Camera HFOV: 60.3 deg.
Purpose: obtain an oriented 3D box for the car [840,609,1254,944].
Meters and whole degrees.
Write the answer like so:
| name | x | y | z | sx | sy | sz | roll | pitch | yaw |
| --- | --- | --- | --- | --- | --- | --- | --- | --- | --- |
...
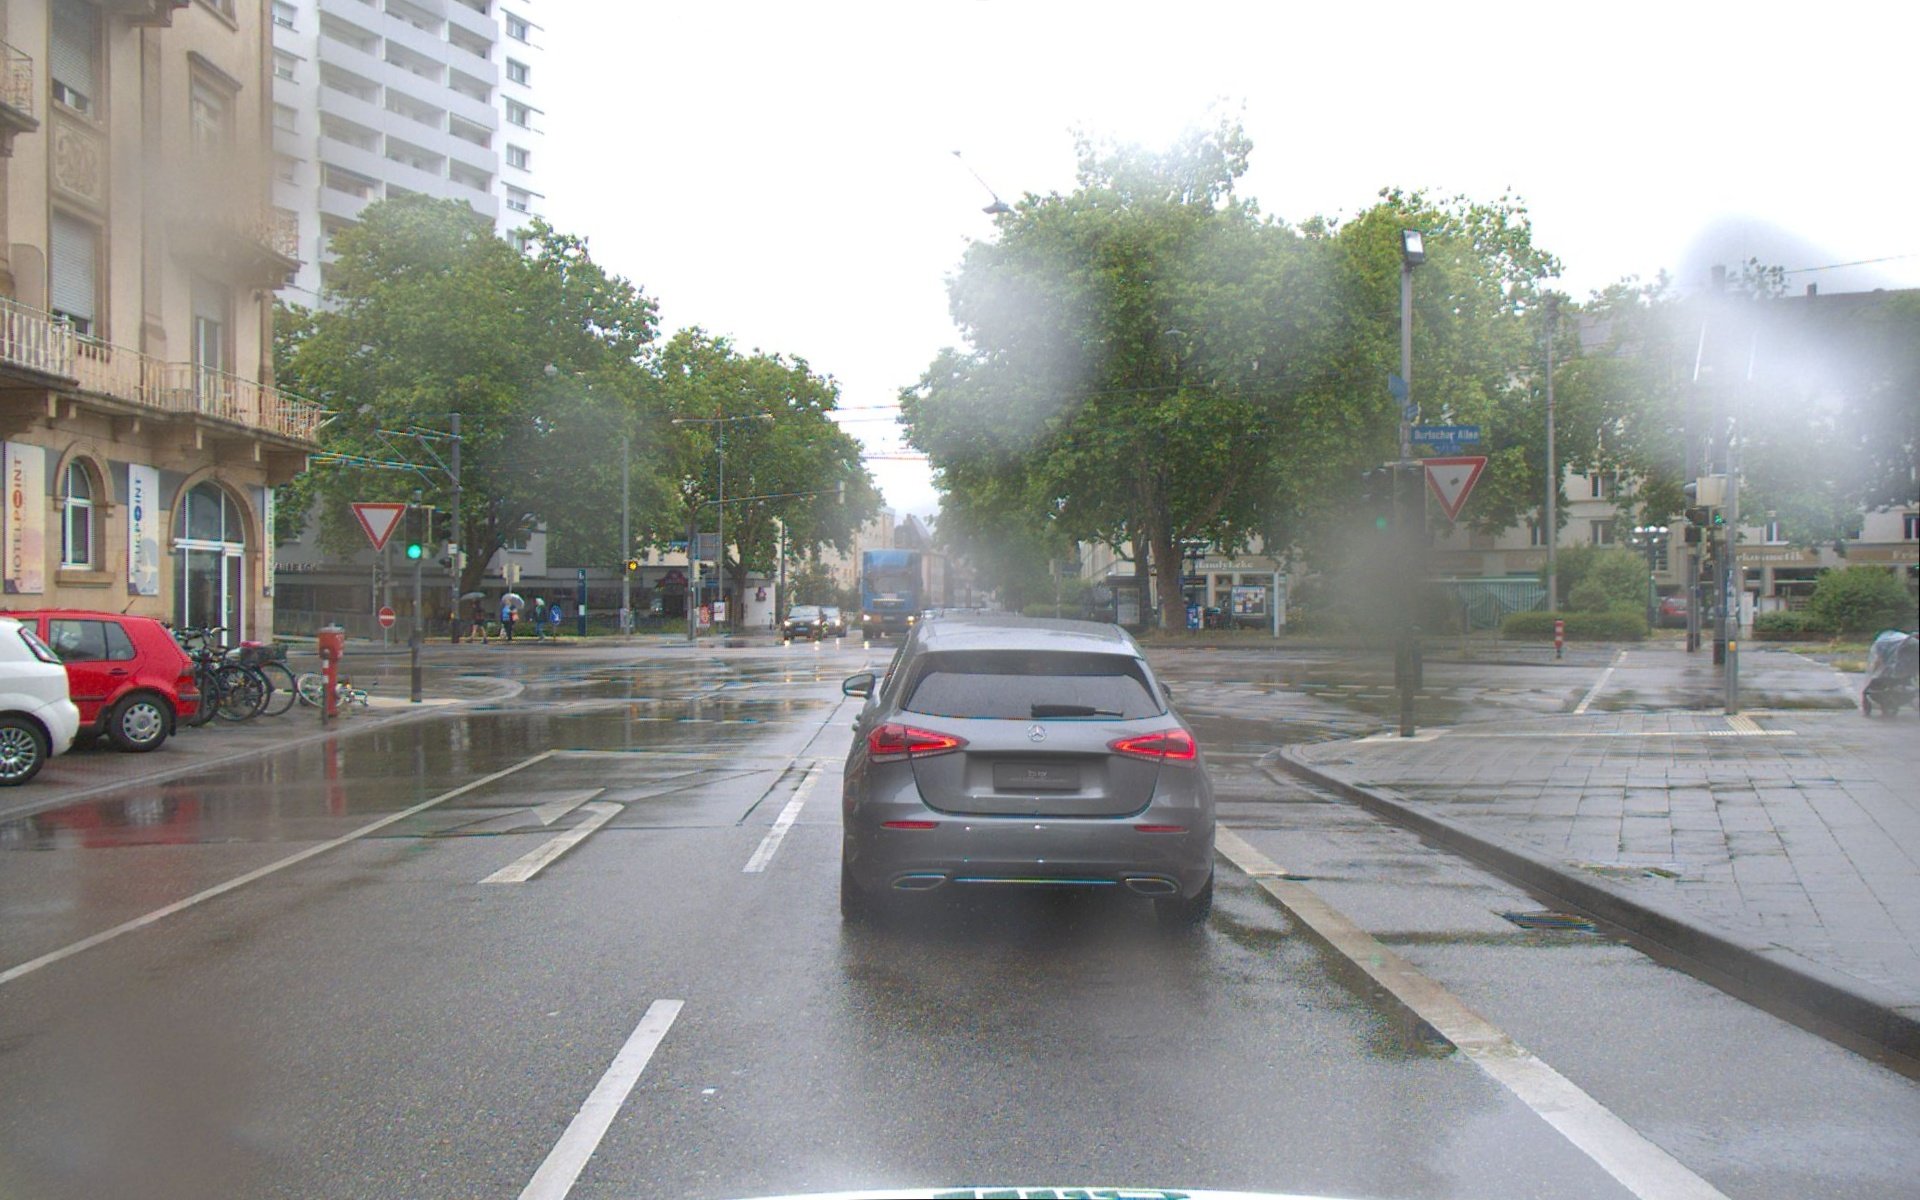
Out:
| name | x | y | z | sx | sy | sz | roll | pitch | yaw |
| --- | --- | --- | --- | --- | --- | --- | --- | --- | --- |
| car | 0.352 | 0.764 | 8.818 | 1.755 | 1.396 | 3.506 | 1 | 0 | -1 |

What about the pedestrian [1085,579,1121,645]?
| name | x | y | z | sx | sy | sz | roll | pitch | yaw |
| --- | --- | --- | --- | --- | --- | --- | --- | --- | --- |
| pedestrian | 3.166 | 0.255 | 36.498 | 0.728 | 1.422 | 1.048 | -1 | 0 | 6 |

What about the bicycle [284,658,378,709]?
| name | x | y | z | sx | sy | sz | roll | pitch | yaw |
| --- | --- | --- | --- | --- | --- | --- | --- | --- | --- |
| bicycle | -9.256 | 1.219 | 24.310 | 1.029 | 0.675 | 1.462 | 2 | -2 | -31 |

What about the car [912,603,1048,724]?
| name | x | y | z | sx | sy | sz | roll | pitch | yaw |
| --- | --- | --- | --- | --- | --- | --- | --- | --- | --- |
| car | 0.206 | 0.752 | 21.505 | 1.574 | 1.396 | 3.999 | -1 | 0 | -1 |

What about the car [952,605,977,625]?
| name | x | y | z | sx | sy | sz | roll | pitch | yaw |
| --- | --- | --- | --- | --- | --- | --- | --- | --- | --- |
| car | 0.364 | 1.289 | 141.957 | 1.953 | 1.601 | 3.998 | -1 | -1 | -2 |

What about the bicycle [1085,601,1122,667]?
| name | x | y | z | sx | sy | sz | roll | pitch | yaw |
| --- | --- | --- | --- | --- | --- | --- | --- | --- | --- |
| bicycle | 3.189 | 0.722 | 36.532 | 0.733 | 1.401 | 2.709 | -1 | 0 | 6 |

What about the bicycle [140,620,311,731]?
| name | x | y | z | sx | sy | sz | roll | pitch | yaw |
| --- | --- | --- | --- | --- | --- | --- | --- | --- | --- |
| bicycle | -8.972 | 0.914 | 20.232 | 1.772 | 1.205 | 0.601 | 4 | 0 | 5 |

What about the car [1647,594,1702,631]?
| name | x | y | z | sx | sy | sz | roll | pitch | yaw |
| --- | --- | --- | --- | --- | --- | --- | --- | --- | --- |
| car | 31.383 | 0.552 | 72.717 | 1.627 | 1.548 | 3.682 | -1 | -1 | 14 |

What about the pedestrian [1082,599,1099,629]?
| name | x | y | z | sx | sy | sz | roll | pitch | yaw |
| --- | --- | --- | --- | --- | --- | --- | --- | --- | --- |
| pedestrian | 7.470 | 0.815 | 94.495 | 0.656 | 1.698 | 0.711 | 0 | -1 | -30 |

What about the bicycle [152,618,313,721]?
| name | x | y | z | sx | sy | sz | roll | pitch | yaw |
| --- | --- | --- | --- | --- | --- | --- | --- | --- | --- |
| bicycle | -9.334 | 0.888 | 21.242 | 1.774 | 1.205 | 0.475 | 3 | -1 | -3 |

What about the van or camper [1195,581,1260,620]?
| name | x | y | z | sx | sy | sz | roll | pitch | yaw |
| --- | --- | --- | --- | --- | --- | --- | --- | --- | --- |
| van or camper | 16.224 | 0.067 | 100.153 | 2.349 | 2.270 | 5.424 | -1 | -1 | 27 |

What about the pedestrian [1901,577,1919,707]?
| name | x | y | z | sx | sy | sz | roll | pitch | yaw |
| --- | --- | --- | --- | --- | --- | --- | --- | --- | --- |
| pedestrian | 12.778 | 0.541 | 21.593 | 0.590 | 1.692 | 0.689 | -1 | 0 | 2 |

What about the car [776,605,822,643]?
| name | x | y | z | sx | sy | sz | roll | pitch | yaw |
| --- | --- | --- | --- | --- | --- | --- | --- | --- | --- |
| car | -7.009 | 1.046 | 72.245 | 1.708 | 1.573 | 3.777 | -1 | 0 | -1 |

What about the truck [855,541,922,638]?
| name | x | y | z | sx | sy | sz | roll | pitch | yaw |
| --- | --- | --- | --- | --- | --- | --- | --- | --- | --- |
| truck | -3.160 | -0.443 | 75.845 | 2.788 | 4.096 | 10.313 | -1 | 0 | -1 |

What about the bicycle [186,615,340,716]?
| name | x | y | z | sx | sy | sz | roll | pitch | yaw |
| --- | --- | --- | --- | --- | --- | --- | --- | --- | --- |
| bicycle | -9.612 | 0.895 | 22.842 | 1.935 | 1.353 | 0.438 | -1 | 0 | 1 |

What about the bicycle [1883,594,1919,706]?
| name | x | y | z | sx | sy | sz | roll | pitch | yaw |
| --- | --- | --- | --- | --- | --- | --- | --- | --- | --- |
| bicycle | 13.144 | 0.673 | 21.861 | 0.522 | 1.492 | 1.935 | -1 | 0 | -10 |

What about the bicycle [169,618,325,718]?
| name | x | y | z | sx | sy | sz | roll | pitch | yaw |
| --- | --- | --- | --- | --- | --- | --- | --- | --- | --- |
| bicycle | -9.371 | 0.895 | 21.767 | 1.774 | 1.205 | 0.467 | 3 | -1 | -3 |

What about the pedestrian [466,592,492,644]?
| name | x | y | z | sx | sy | sz | roll | pitch | yaw |
| --- | --- | --- | --- | --- | --- | --- | --- | --- | --- |
| pedestrian | -17.582 | 0.659 | 60.436 | 0.674 | 1.871 | 0.630 | -1 | -1 | -43 |

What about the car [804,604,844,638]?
| name | x | y | z | sx | sy | sz | roll | pitch | yaw |
| --- | --- | --- | --- | --- | --- | --- | --- | --- | --- |
| car | -6.636 | 1.028 | 81.026 | 1.691 | 1.573 | 4.339 | -1 | 0 | -1 |

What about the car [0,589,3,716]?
| name | x | y | z | sx | sy | sz | roll | pitch | yaw |
| --- | --- | --- | --- | --- | --- | --- | --- | --- | --- |
| car | -9.188 | 0.725 | 11.591 | 4.047 | 1.721 | 1.738 | 2 | 0 | -41 |

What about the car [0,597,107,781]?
| name | x | y | z | sx | sy | sz | roll | pitch | yaw |
| --- | --- | --- | --- | --- | --- | --- | --- | --- | --- |
| car | -9.672 | 0.743 | 14.129 | 3.957 | 1.560 | 1.679 | 1 | 0 | -41 |

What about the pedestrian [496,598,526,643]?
| name | x | y | z | sx | sy | sz | roll | pitch | yaw |
| --- | --- | --- | --- | --- | --- | --- | --- | --- | --- |
| pedestrian | -17.068 | 0.778 | 62.872 | 0.774 | 1.677 | 0.817 | -1 | 0 | 14 |

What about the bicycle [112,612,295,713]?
| name | x | y | z | sx | sy | sz | roll | pitch | yaw |
| --- | --- | --- | --- | --- | --- | --- | --- | --- | --- |
| bicycle | -10.936 | 0.890 | 23.975 | 2.295 | 1.370 | 0.639 | -1 | 0 | -6 |

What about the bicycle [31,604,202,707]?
| name | x | y | z | sx | sy | sz | roll | pitch | yaw |
| --- | --- | --- | --- | --- | --- | --- | --- | --- | --- |
| bicycle | -11.660 | 0.757 | 22.896 | 2.017 | 1.370 | 0.584 | -1 | 0 | -6 |

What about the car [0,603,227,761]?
| name | x | y | z | sx | sy | sz | roll | pitch | yaw |
| --- | --- | --- | --- | --- | --- | --- | --- | --- | --- |
| car | -9.862 | 0.801 | 16.929 | 1.773 | 1.534 | 3.972 | 0 | 0 | 44 |

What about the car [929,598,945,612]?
| name | x | y | z | sx | sy | sz | roll | pitch | yaw |
| --- | --- | --- | --- | --- | --- | --- | --- | --- | --- |
| car | -3.029 | 0.691 | 217.881 | 1.850 | 1.868 | 4.001 | -1 | -1 | 3 |

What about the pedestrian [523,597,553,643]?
| name | x | y | z | sx | sy | sz | roll | pitch | yaw |
| --- | --- | --- | --- | --- | --- | --- | --- | --- | --- |
| pedestrian | -15.852 | 0.744 | 62.165 | 0.817 | 1.677 | 0.756 | -1 | 0 | 15 |

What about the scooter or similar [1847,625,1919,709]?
| name | x | y | z | sx | sy | sz | roll | pitch | yaw |
| --- | --- | --- | --- | --- | --- | --- | --- | --- | --- |
| scooter or similar | 12.234 | 0.879 | 21.884 | 0.502 | 1.067 | 0.924 | -1 | 0 | 2 |

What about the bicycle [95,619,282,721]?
| name | x | y | z | sx | sy | sz | roll | pitch | yaw |
| --- | --- | --- | --- | --- | --- | --- | --- | --- | --- |
| bicycle | -10.854 | 0.971 | 23.324 | 2.295 | 1.370 | 0.639 | -1 | 0 | -6 |

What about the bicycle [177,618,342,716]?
| name | x | y | z | sx | sy | sz | roll | pitch | yaw |
| --- | --- | --- | --- | --- | --- | --- | --- | --- | --- |
| bicycle | -9.419 | 0.900 | 22.281 | 1.941 | 1.205 | 0.474 | 3 | -1 | -4 |
